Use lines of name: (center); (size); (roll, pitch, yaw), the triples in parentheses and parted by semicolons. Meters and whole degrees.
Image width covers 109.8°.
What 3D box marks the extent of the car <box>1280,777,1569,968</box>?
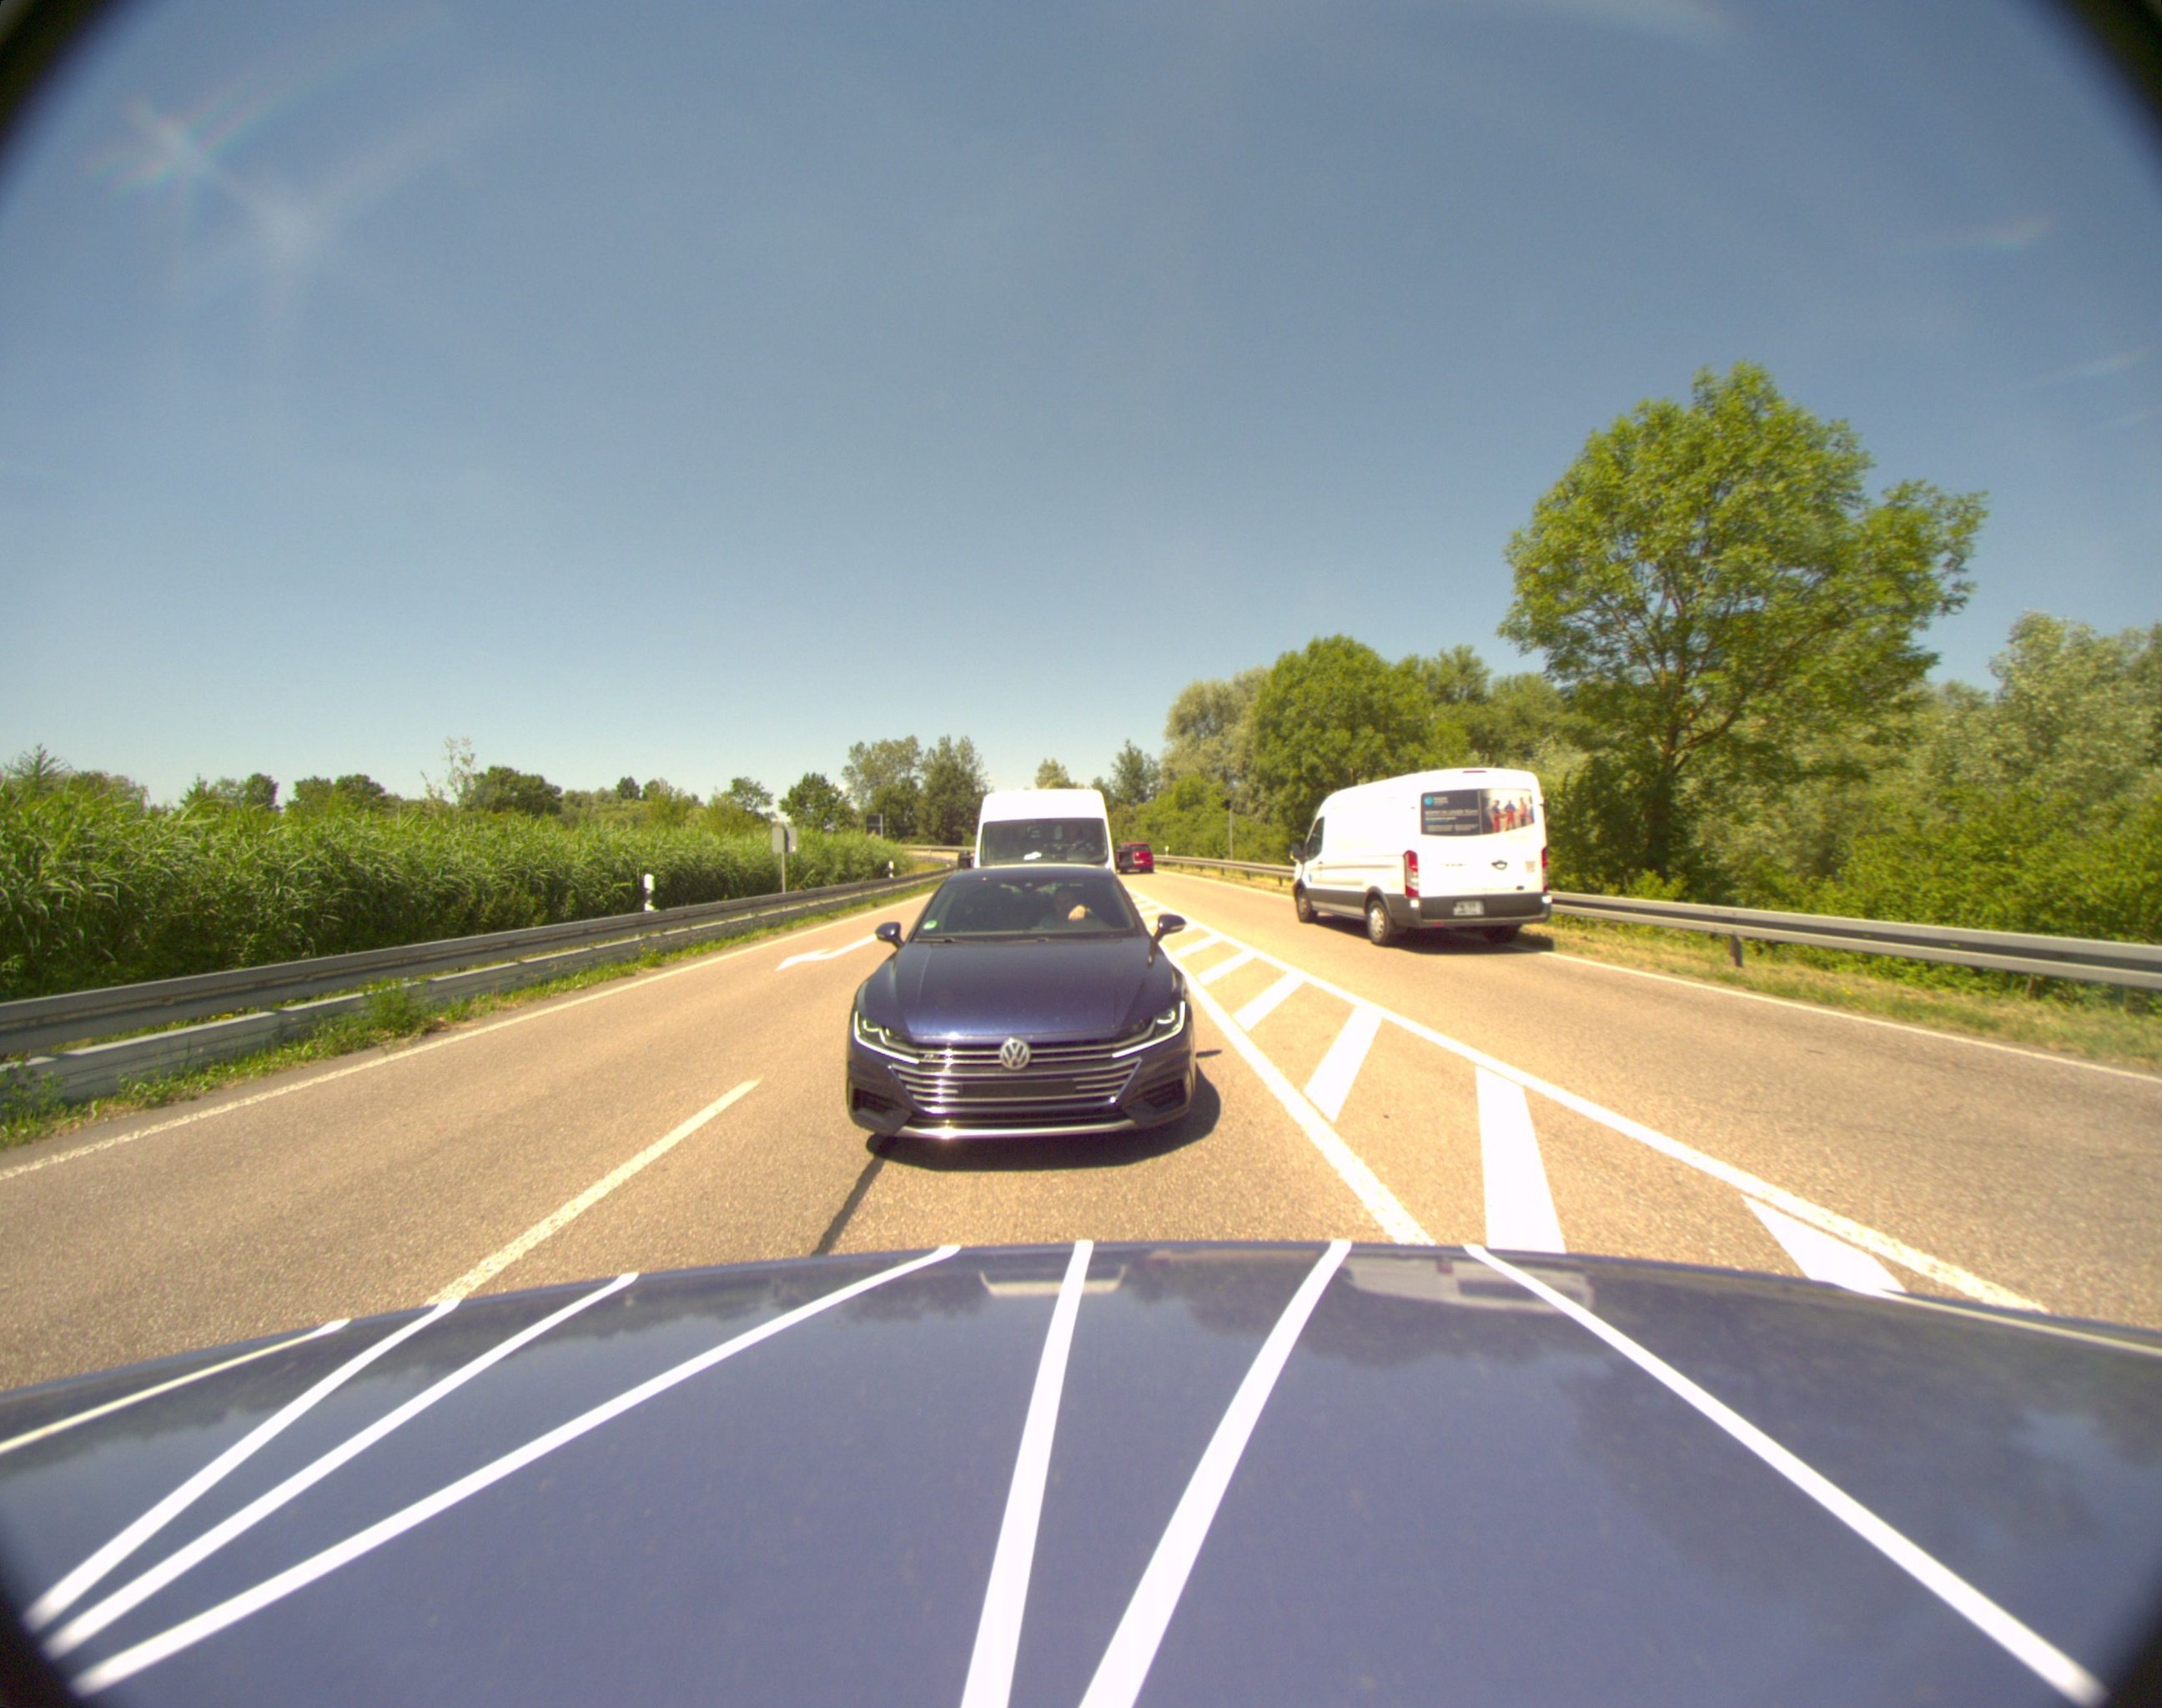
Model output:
car: (5.143, 0.190, 12.525); (1.999, 2.402, 5.587); (-1, 1, -3)

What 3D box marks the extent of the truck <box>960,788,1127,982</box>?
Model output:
truck: (-0.647, 0.350, 12.406); (2.011, 2.365, 5.909); (-2, 1, -4)

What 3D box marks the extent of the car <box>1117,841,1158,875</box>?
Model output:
car: (2.929, 0.180, 40.307); (1.741, 1.676, 4.207); (0, 1, -2)

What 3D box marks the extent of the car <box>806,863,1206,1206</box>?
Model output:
car: (-0.320, 0.871, 5.739); (1.819, 1.454, 4.415); (-2, 1, 1)
